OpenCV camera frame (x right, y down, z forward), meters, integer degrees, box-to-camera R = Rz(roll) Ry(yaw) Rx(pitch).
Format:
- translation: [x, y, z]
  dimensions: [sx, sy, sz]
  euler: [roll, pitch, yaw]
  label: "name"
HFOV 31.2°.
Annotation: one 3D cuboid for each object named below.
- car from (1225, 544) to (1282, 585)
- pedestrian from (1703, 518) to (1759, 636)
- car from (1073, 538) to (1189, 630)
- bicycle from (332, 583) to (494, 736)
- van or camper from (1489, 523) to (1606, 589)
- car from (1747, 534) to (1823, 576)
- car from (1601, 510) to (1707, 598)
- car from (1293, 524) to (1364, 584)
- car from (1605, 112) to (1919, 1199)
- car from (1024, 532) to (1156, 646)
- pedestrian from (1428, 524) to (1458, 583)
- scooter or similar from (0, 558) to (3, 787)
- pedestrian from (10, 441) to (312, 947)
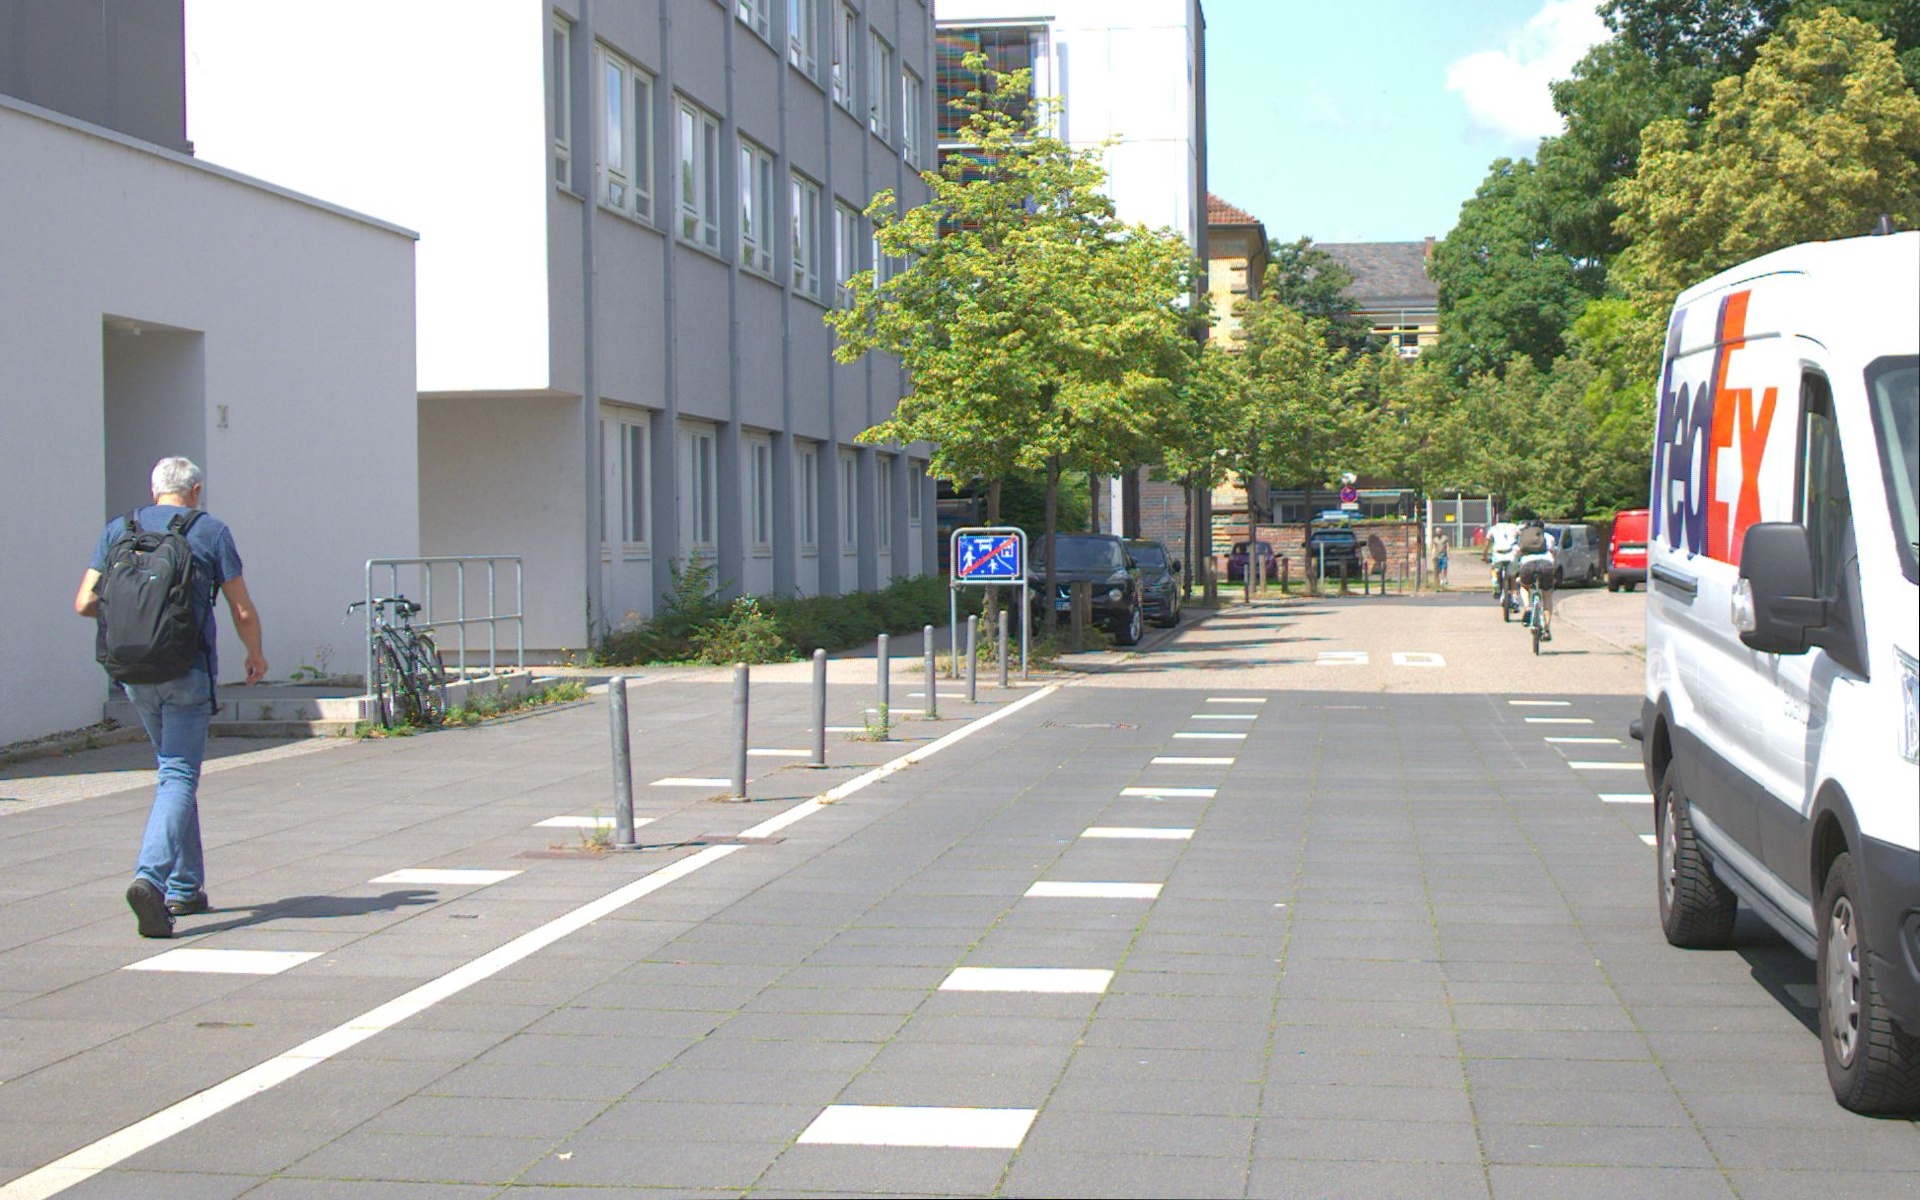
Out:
- translation: [9.656, -1.181, 112.993]
  dimensions: [1.817, 1.319, 3.767]
  euler: [0, 1, 6]
  label: "car"
- translation: [11.174, -0.341, 49.830]
  dimensions: [0.641, 1.691, 0.792]
  euler: [0, 1, 1]
  label: "pedestrian"
- translation: [2.912, -0.299, 57.728]
  dimensions: [1.778, 1.456, 4.258]
  euler: [1, 1, 5]
  label: "car"
- translation: [-4.034, 0.423, 25.497]
  dimensions: [0.543, 1.058, 1.898]
  euler: [0, 1, 12]
  label: "bicycle"
- translation: [17.744, -1.342, 103.704]
  dimensions: [1.956, 1.916, 5.412]
  euler: [1, 1, 27]
  label: "van or camper"
- translation: [30.517, -1.676, 127.091]
  dimensions: [1.762, 1.516, 4.105]
  euler: [0, 1, 27]
  label: "car"
- translation: [15.558, -1.043, 76.913]
  dimensions: [1.850, 1.885, 4.886]
  euler: [-1, 1, 17]
  label: "car"
- translation: [12.049, -1.514, 112.720]
  dimensions: [2.175, 1.919, 5.185]
  euler: [0, 1, 5]
  label: "car"
- translation: [3.366, 0.088, 10.656]
  dimensions: [2.059, 2.534, 5.849]
  euler: [-1, 1, 5]
  label: "car"
- translation: [1.907, -0.186, 49.538]
  dimensions: [1.697, 1.558, 4.067]
  euler: [0, 1, 5]
  label: "car"
- translation: [14.551, -1.400, 103.565]
  dimensions: [0.585, 1.758, 0.910]
  euler: [0, 1, 27]
  label: "pedestrian"
- translation: [-5.714, 0.410, 18.373]
  dimensions: [0.483, 1.258, 1.312]
  euler: [0, 1, 19]
  label: "scooter or similar"
- translation: [-2.976, 0.327, 12.913]
  dimensions: [0.823, 1.811, 1.144]
  euler: [0, 1, 1]
  label: "pedestrian"
